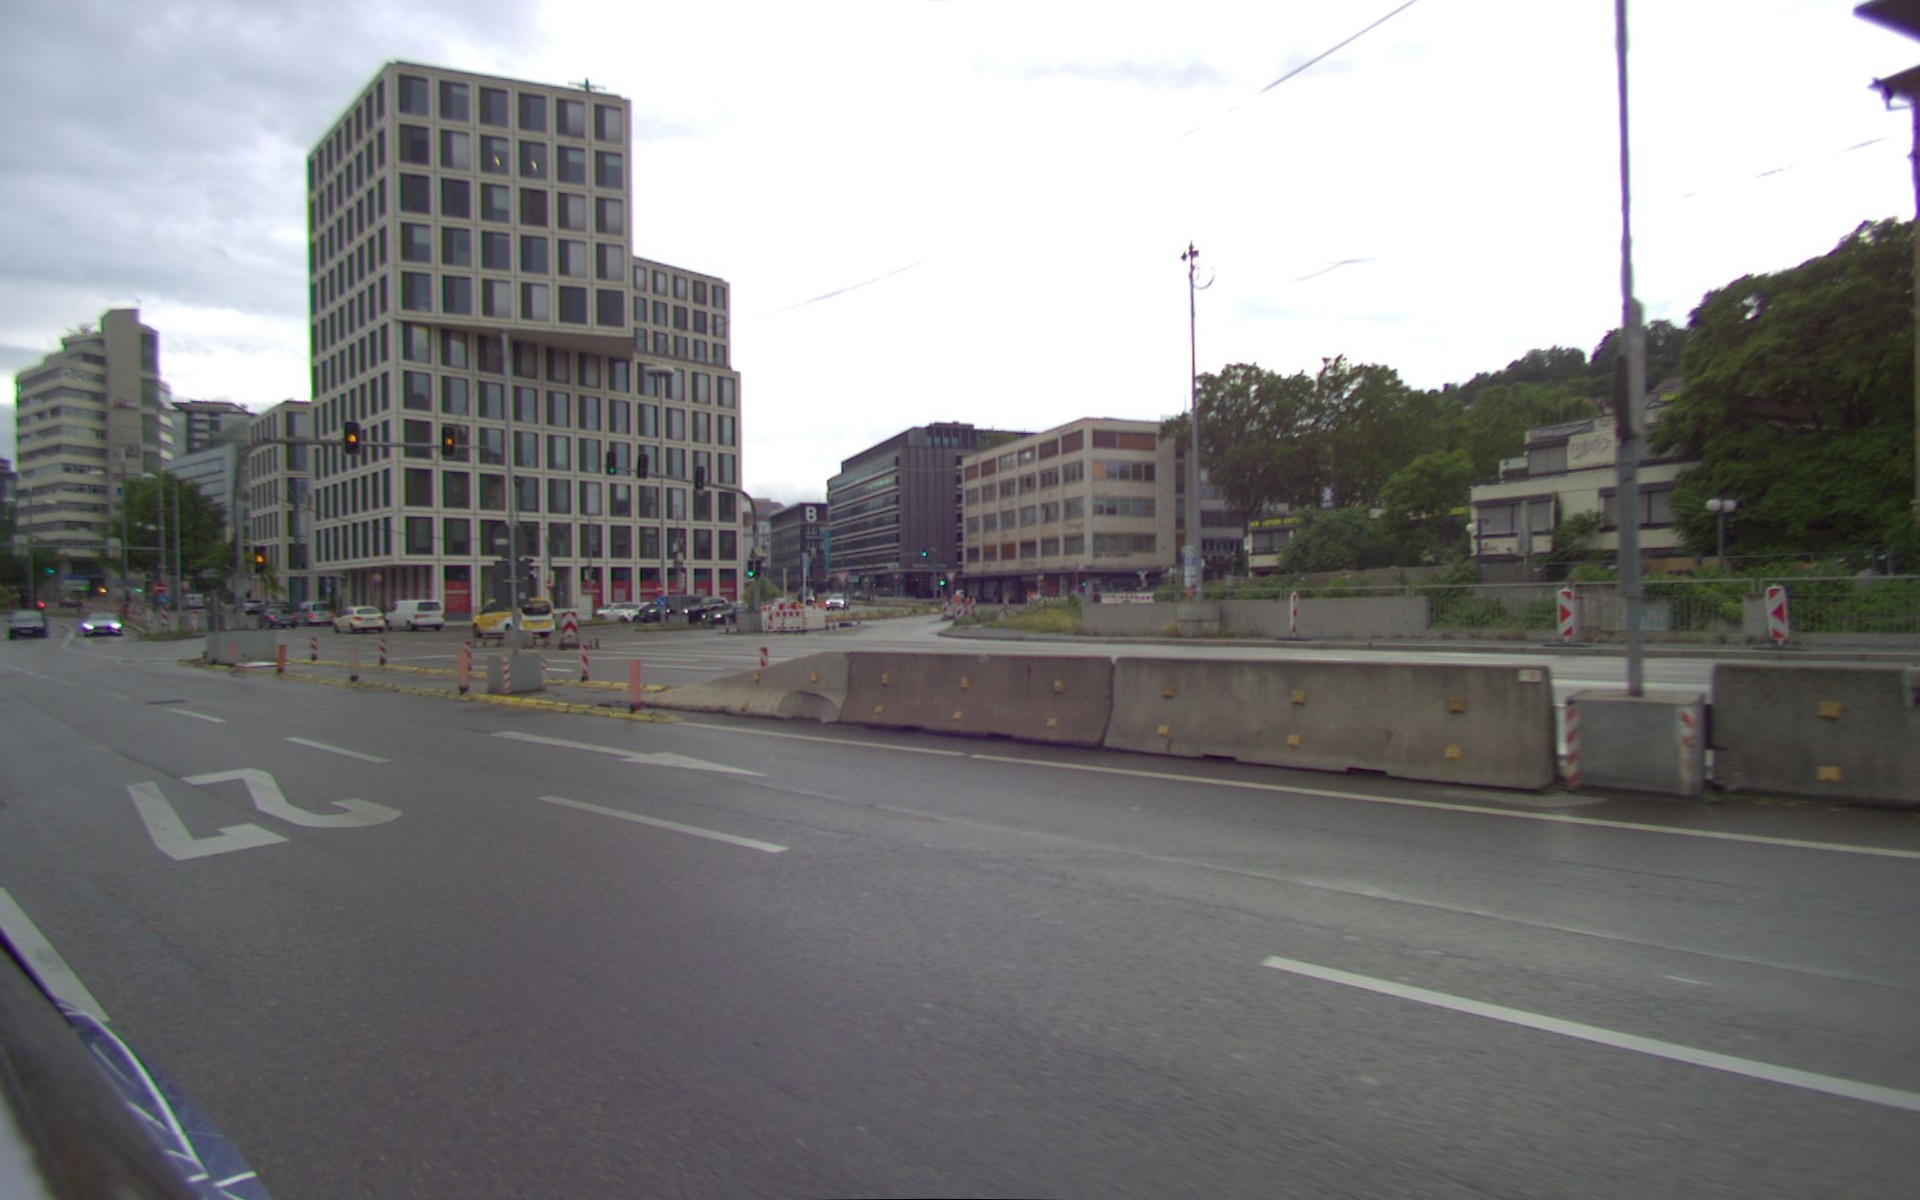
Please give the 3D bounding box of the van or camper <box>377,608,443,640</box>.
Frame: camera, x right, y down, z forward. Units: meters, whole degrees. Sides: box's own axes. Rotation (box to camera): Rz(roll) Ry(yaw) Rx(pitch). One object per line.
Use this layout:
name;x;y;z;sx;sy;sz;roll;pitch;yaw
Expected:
van or camper;-34.954;1.529;64.276;5.208;1.908;1.863;-1;0;40

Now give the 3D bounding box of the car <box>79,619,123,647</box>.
car;-53.195;2.016;62.725;1.986;1.610;4.671;-2;0;-40

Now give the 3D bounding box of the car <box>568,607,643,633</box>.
car;-26.125;1.482;74.653;2.228;1.766;4.748;-2;-1;40

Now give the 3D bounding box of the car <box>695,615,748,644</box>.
car;-14.670;1.800;62.468;1.678;1.710;3.985;-2;-1;11

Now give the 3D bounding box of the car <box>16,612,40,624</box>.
car;-126.294;2.417;137.171;4.177;1.610;1.827;-2;0;40

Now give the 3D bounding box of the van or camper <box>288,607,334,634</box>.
van or camper;-50.135;1.574;78.149;4.252;1.993;1.827;-2;0;40

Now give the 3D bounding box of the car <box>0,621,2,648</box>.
car;-61.207;2.182;63.135;1.989;1.610;4.666;-2;0;-45

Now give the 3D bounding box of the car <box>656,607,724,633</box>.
car;-17.069;1.279;64.110;1.830;1.497;3.956;-2;0;32

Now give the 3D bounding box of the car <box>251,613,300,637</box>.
car;-49.954;1.809;73.852;4.177;1.610;1.827;-2;0;40

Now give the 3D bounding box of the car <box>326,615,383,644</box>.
car;-37.090;1.796;61.949;4.381;1.686;1.822;-1;0;43

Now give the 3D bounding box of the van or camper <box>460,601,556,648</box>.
van or camper;-21.801;1.167;48.682;5.608;2.070;2.215;-1;0;43

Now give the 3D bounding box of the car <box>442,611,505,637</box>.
car;-34.536;1.676;71.915;3.931;1.741;1.744;-1;-1;-23

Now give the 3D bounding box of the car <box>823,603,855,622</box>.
car;-11.775;1.203;98.917;1.839;1.729;4.114;-2;0;12

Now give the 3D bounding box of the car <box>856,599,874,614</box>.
car;-13.892;0.936;147.115;1.966;2.029;4.011;-1;-1;-14

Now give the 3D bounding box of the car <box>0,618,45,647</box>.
car;-56.432;1.904;60.797;1.989;1.610;4.666;-2;0;-45

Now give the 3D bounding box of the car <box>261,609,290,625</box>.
car;-65.297;1.630;96.501;1.838;1.534;4.007;-1;-1;-40

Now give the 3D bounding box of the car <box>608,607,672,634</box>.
car;-22.980;1.450;72.675;3.939;1.829;1.808;-2;1;-42

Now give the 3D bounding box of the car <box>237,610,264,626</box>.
car;-73.513;1.885;104.845;1.839;1.534;4.005;-1;-1;-42
